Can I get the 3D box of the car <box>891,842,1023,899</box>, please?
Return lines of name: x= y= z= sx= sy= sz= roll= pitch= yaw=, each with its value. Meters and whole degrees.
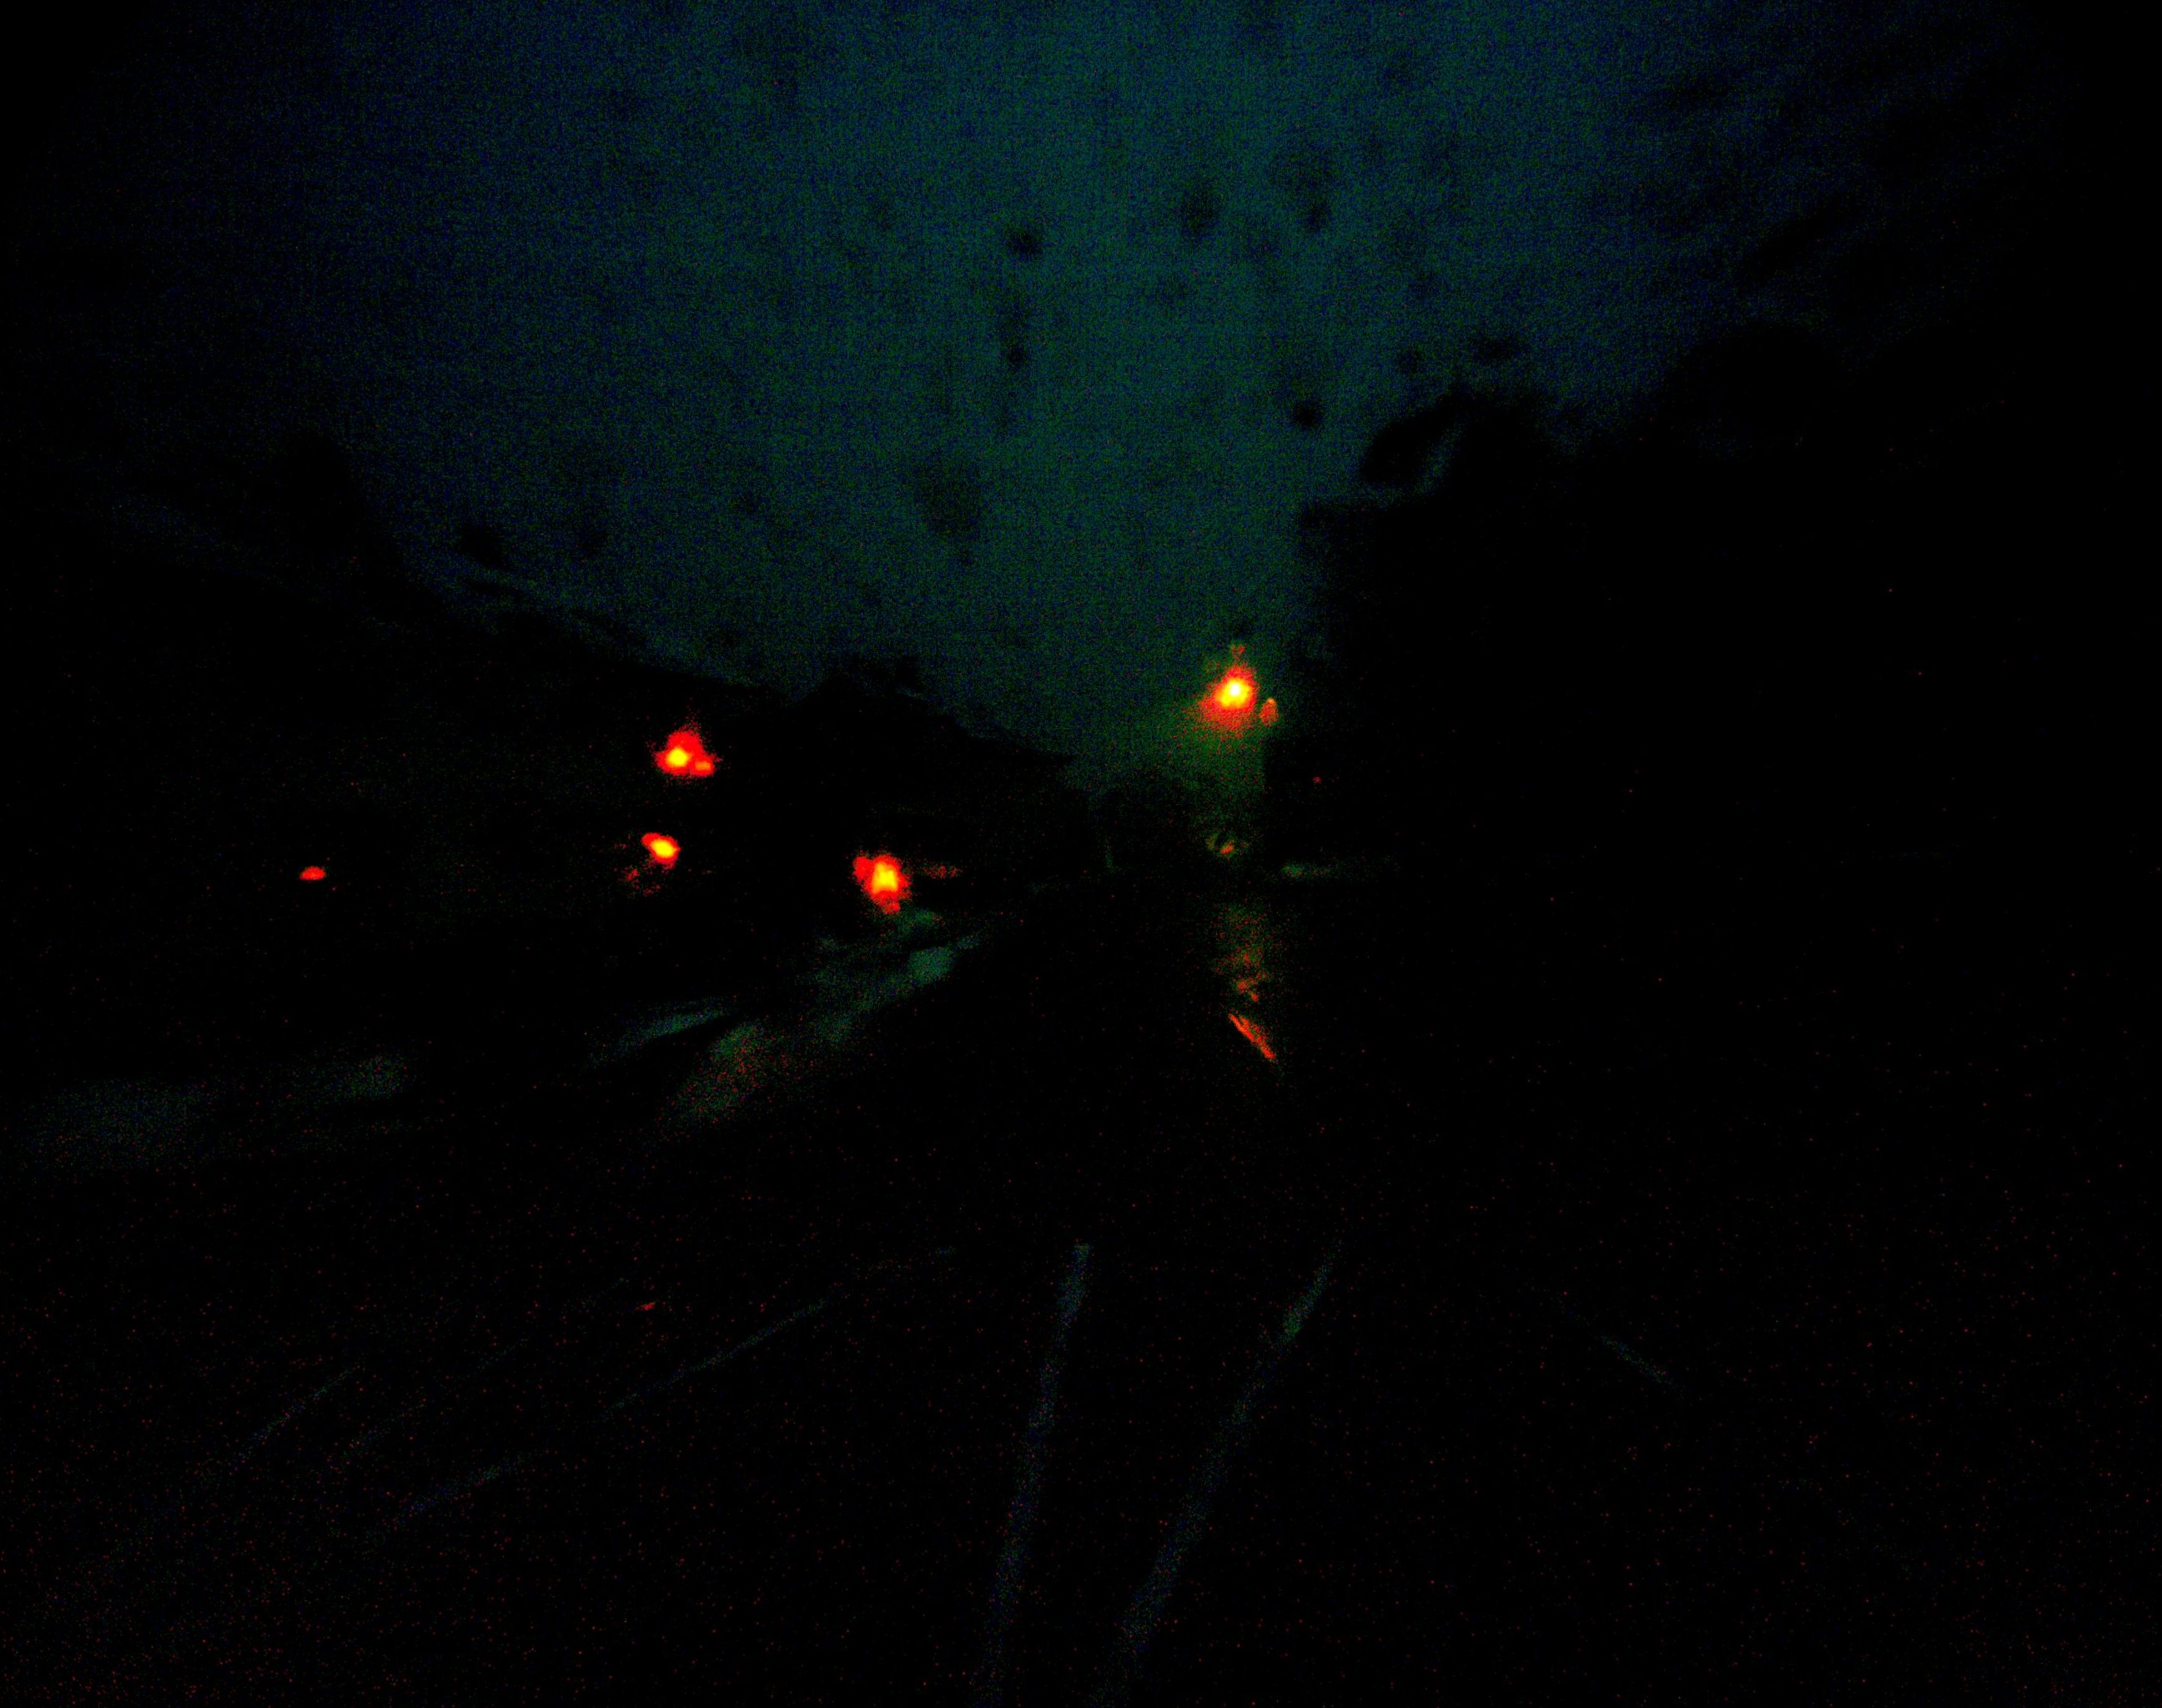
car: x=-4.459 y=0.584 z=27.478 sx=4.211 sy=1.848 sz=1.913 roll=-2 pitch=2 yaw=16
